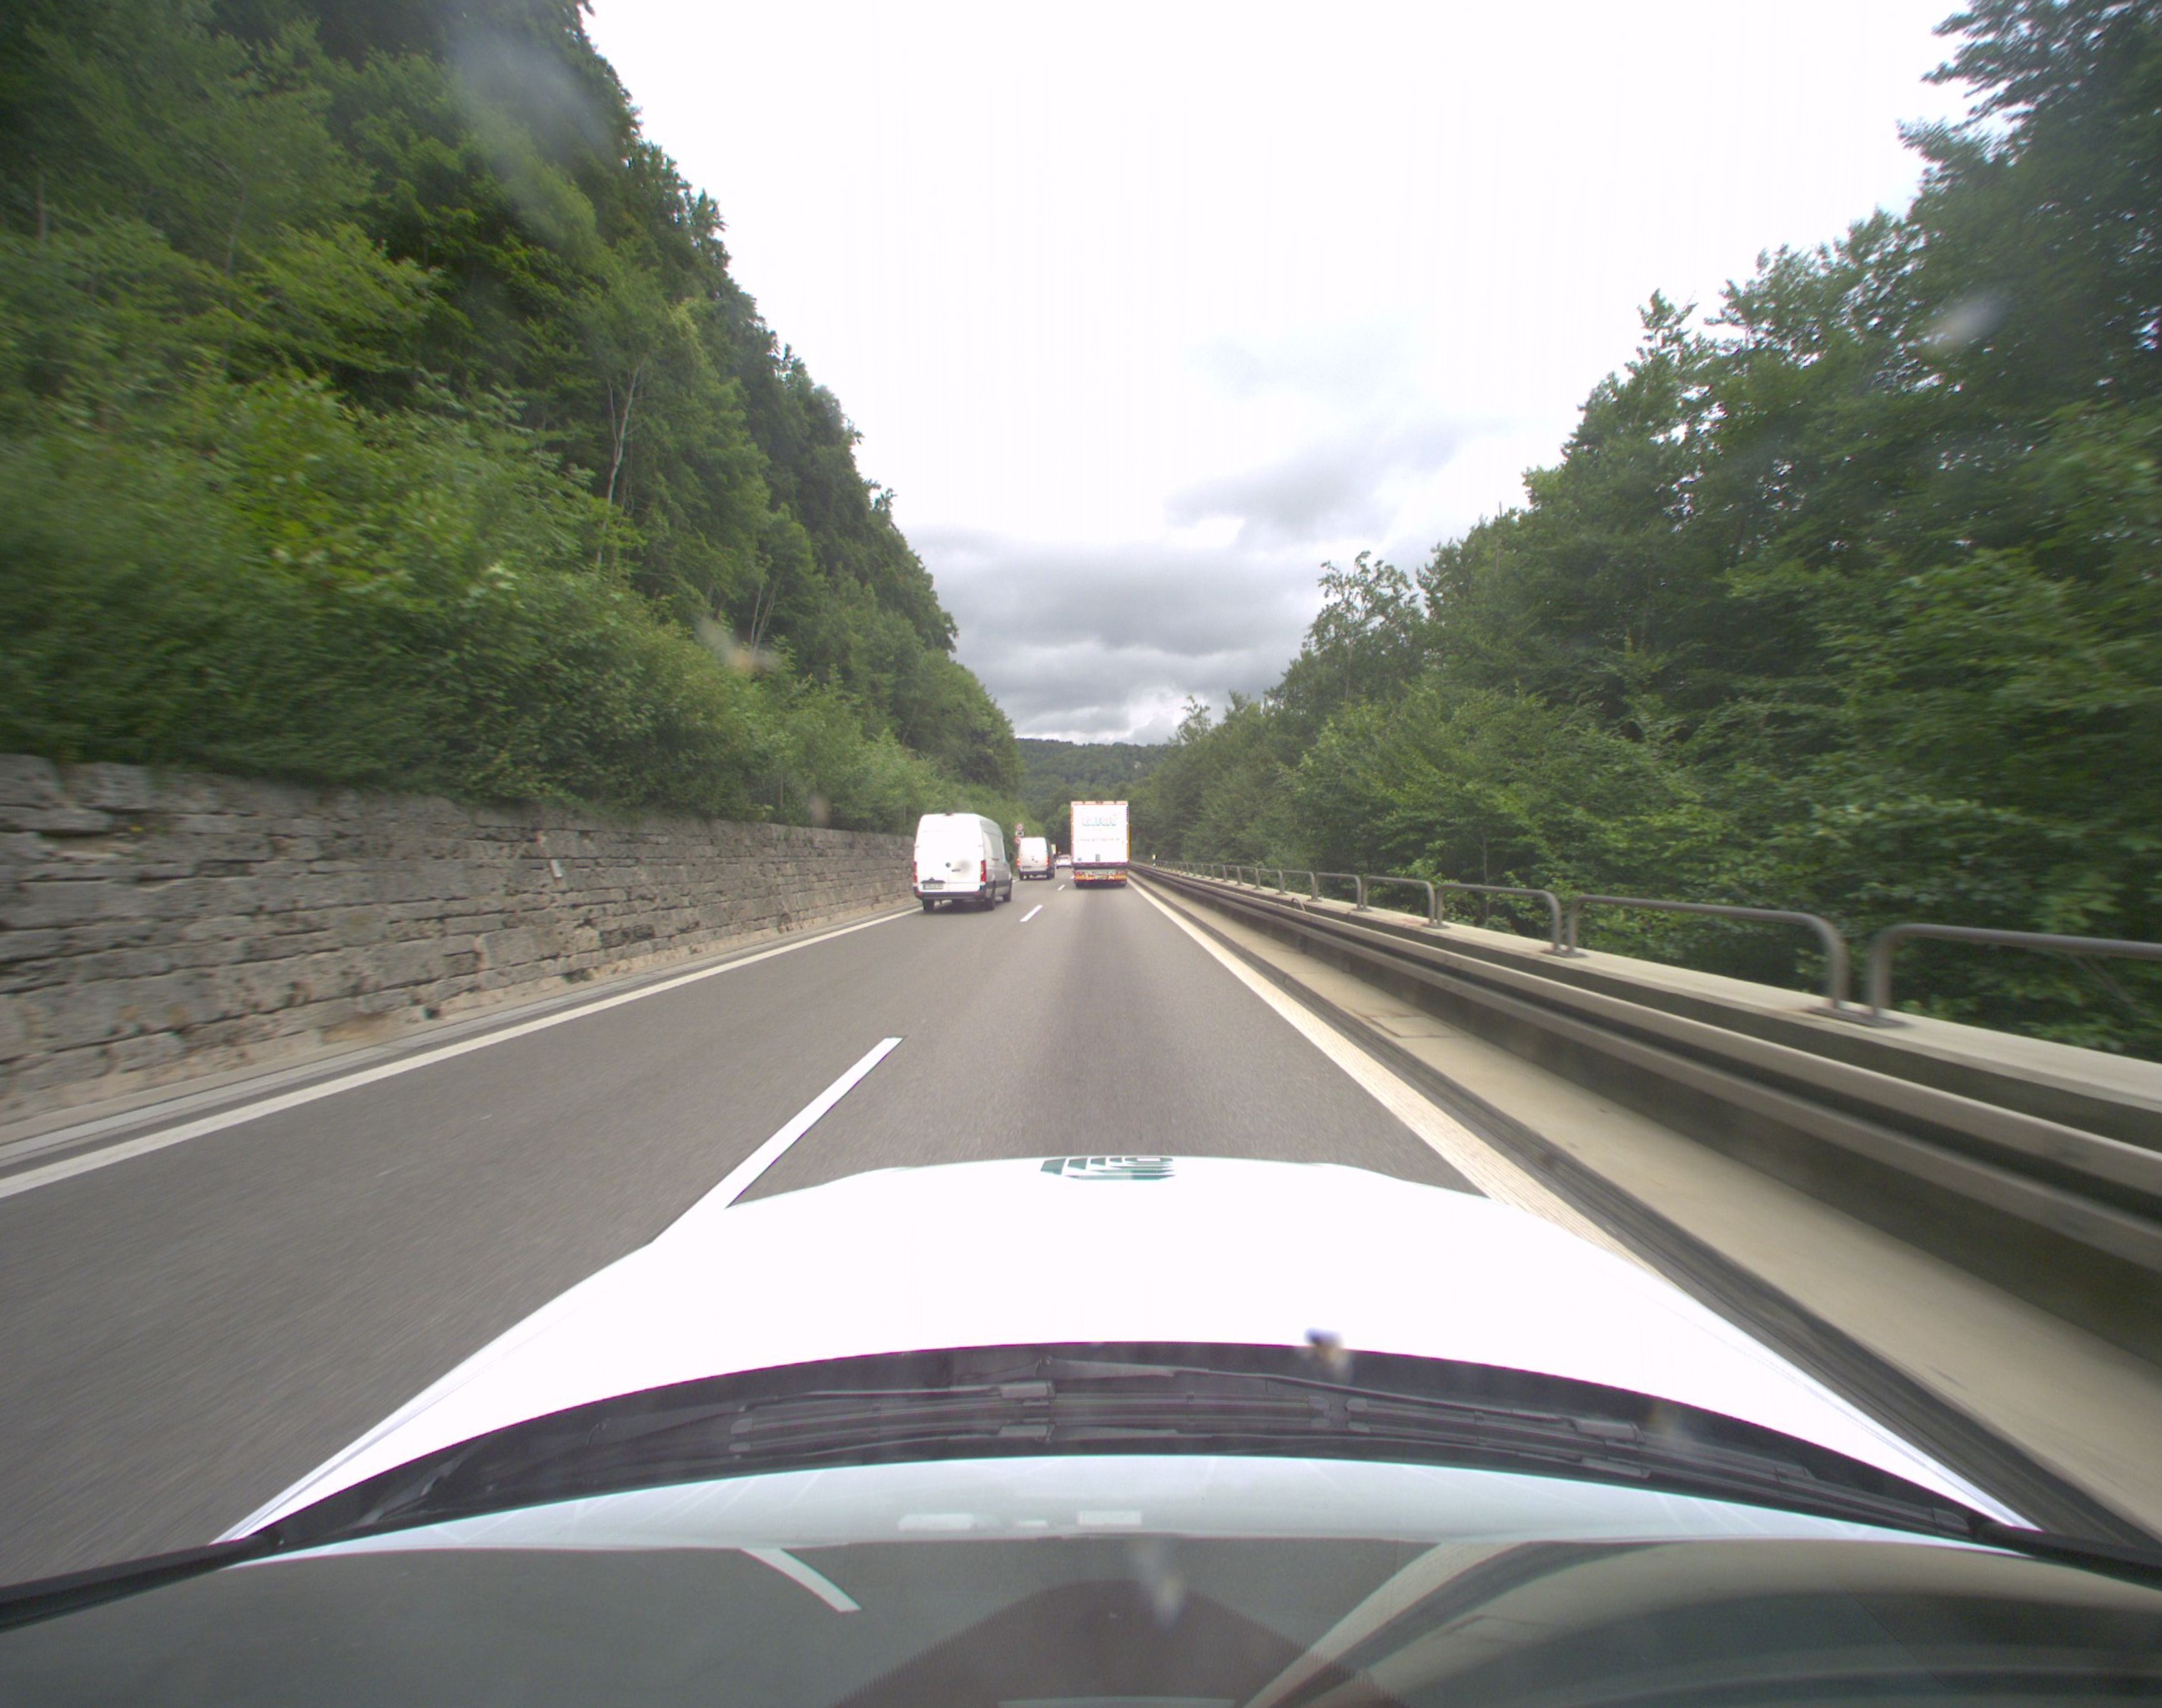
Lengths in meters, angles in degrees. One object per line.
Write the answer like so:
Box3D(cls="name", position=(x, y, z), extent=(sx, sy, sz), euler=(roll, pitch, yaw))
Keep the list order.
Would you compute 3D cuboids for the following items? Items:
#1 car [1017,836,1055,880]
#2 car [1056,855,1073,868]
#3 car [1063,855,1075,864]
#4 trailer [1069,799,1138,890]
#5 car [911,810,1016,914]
Box3D(cls="car", position=(-2.846, 0.226, 52.873), extent=(1.932, 2.672, 5.994), euler=(-1, 0, 2))
Box3D(cls="car", position=(-1.900, 0.828, 94.825), extent=(1.725, 1.421, 4.002), euler=(0, 0, 2))
Box3D(cls="car", position=(-1.897, 0.905, 128.829), extent=(1.726, 1.421, 3.999), euler=(0, 0, 0))
Box3D(cls="trailer", position=(1.131, -0.553, 42.152), extent=(3.046, 3.986, 12.140), euler=(0, 1, 1))
Box3D(cls="car", position=(-3.322, 0.207, 24.622), extent=(1.982, 2.672, 6.937), euler=(-1, 0, 1))
